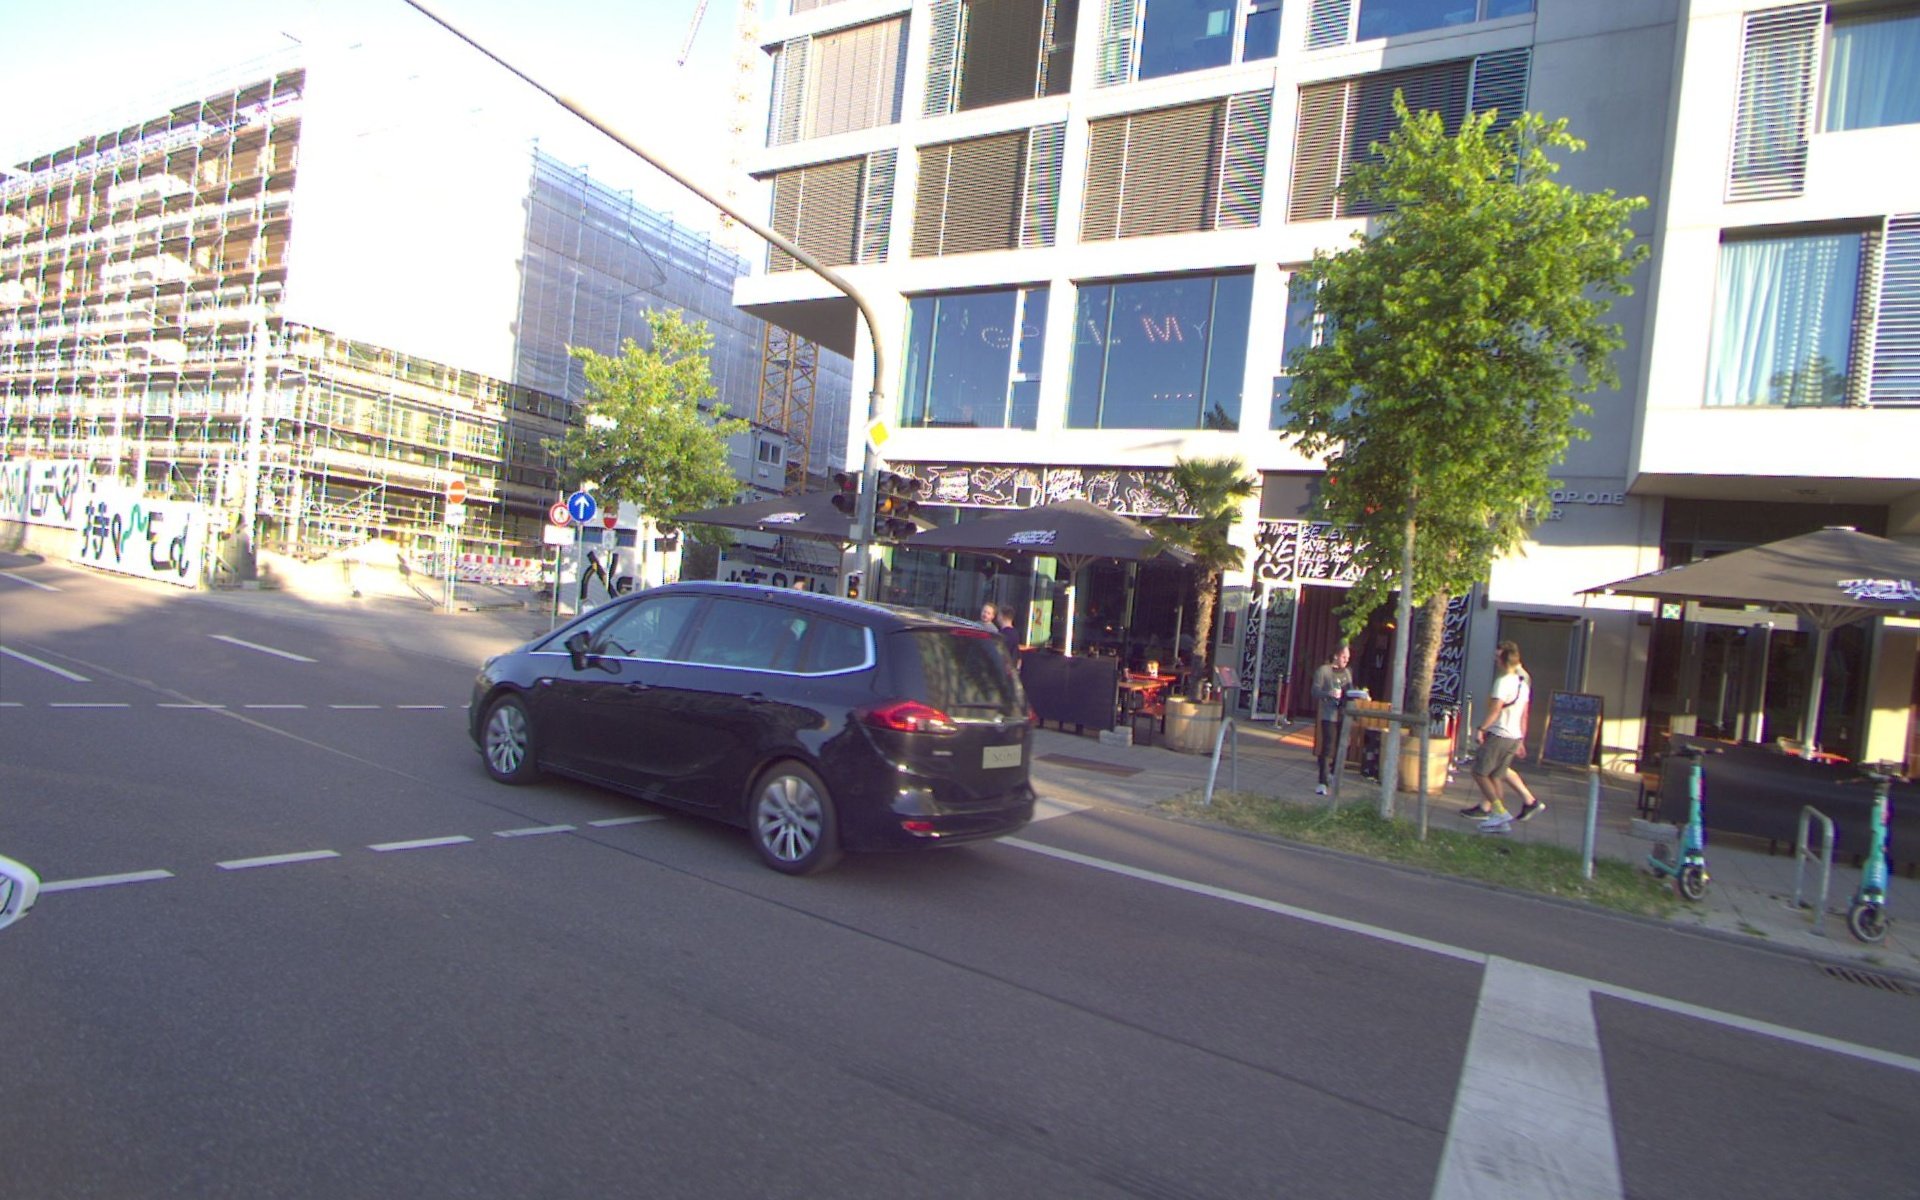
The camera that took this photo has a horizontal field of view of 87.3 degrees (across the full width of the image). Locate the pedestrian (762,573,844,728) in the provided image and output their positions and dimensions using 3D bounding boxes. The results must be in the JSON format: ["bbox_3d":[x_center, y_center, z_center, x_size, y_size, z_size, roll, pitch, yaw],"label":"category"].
[{"bbox_3d":[-2.007,0.634,12.933,0.756,1.872,0.678,6,2,2],"label":"pedestrian"}]

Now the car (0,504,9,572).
[{"bbox_3d":[-24.502,-1.700,23.948,4.718,1.537,1.821,6,-1,37],"label":"car"}]

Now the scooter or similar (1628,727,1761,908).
[{"bbox_3d":[6.129,1.776,8.451,0.588,1.240,1.053,6,2,25],"label":"scooter or similar"}]

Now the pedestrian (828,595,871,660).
[{"bbox_3d":[-2.425,0.600,22.020,0.610,1.337,0.613,2,4,-42],"label":"pedestrian"}]

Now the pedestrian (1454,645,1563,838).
[{"bbox_3d":[5.545,1.396,10.203,0.814,1.810,0.576,5,2,28],"label":"pedestrian"}]

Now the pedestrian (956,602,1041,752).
[{"bbox_3d":[0.472,0.920,12.375,0.677,1.725,0.654,7,3,29],"label":"pedestrian"}]

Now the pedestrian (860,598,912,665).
[{"bbox_3d":[-1.595,0.672,21.575,0.704,1.337,0.743,7,4,42],"label":"pedestrian"}]

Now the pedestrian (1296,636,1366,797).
[{"bbox_3d":[4.310,1.316,11.690,0.567,1.726,0.855,6,2,21],"label":"pedestrian"}]

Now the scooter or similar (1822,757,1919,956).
[{"bbox_3d":[6.973,1.892,7.611,0.541,1.240,1.059,7,3,39],"label":"scooter or similar"}]

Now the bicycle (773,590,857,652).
[{"bbox_3d":[-3.417,0.484,23.662,1.923,1.224,0.543,6,-2,31],"label":"bicycle"}]

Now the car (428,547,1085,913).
[{"bbox_3d":[-1.535,0.696,7.087,4.294,1.617,1.826,6,-1,31],"label":"car"}]

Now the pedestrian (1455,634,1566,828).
[{"bbox_3d":[5.905,1.363,10.848,0.851,1.913,0.825,5,2,25],"label":"pedestrian"}]

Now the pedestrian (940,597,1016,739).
[{"bbox_3d":[0.243,0.870,13.246,0.746,1.758,0.687,5,3,10],"label":"pedestrian"}]
